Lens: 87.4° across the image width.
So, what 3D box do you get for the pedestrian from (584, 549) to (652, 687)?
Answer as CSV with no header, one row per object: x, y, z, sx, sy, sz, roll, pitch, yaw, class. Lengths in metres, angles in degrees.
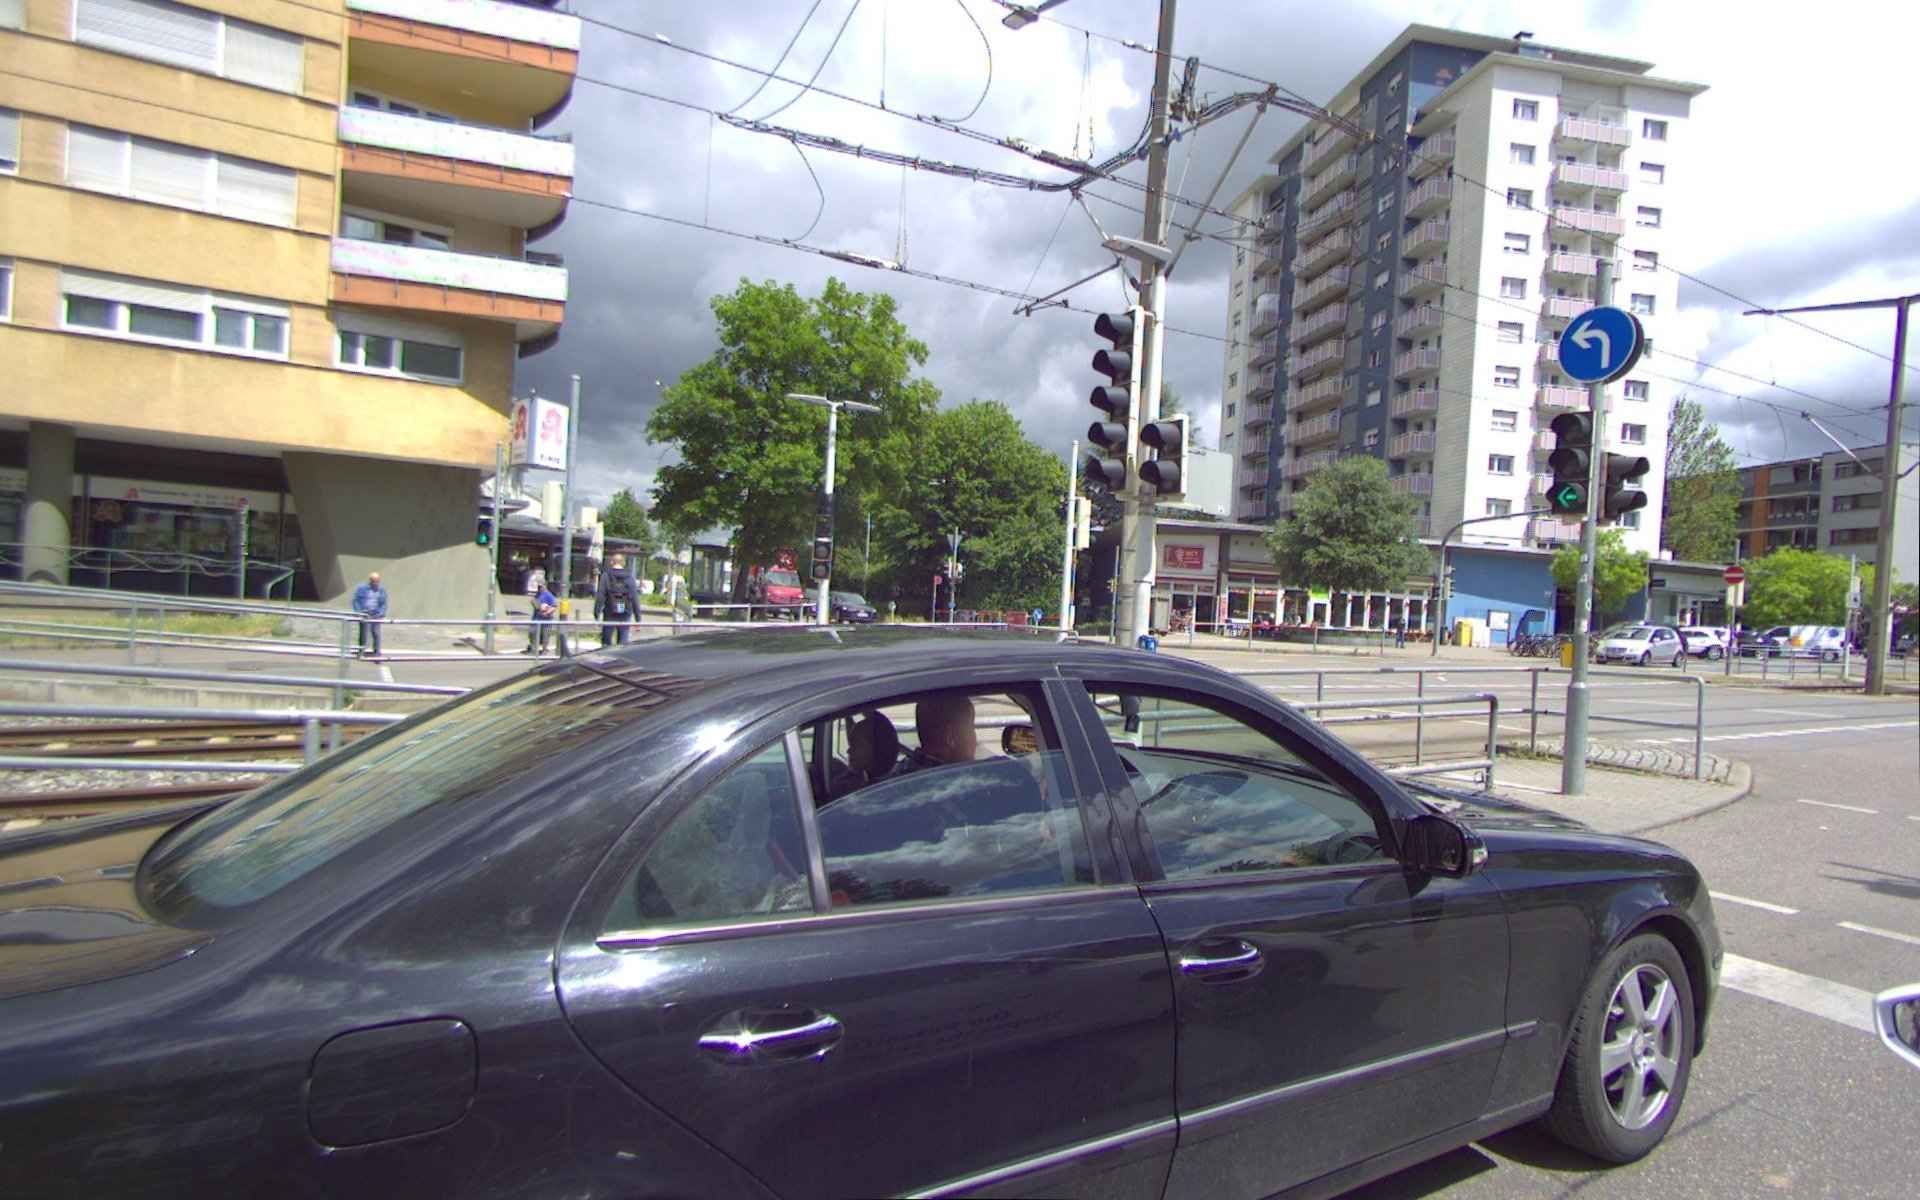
-5.085,0.266,14.903,0.841,1.960,0.916,2,0,-23,pedestrian

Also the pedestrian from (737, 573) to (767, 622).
-7.930,-0.098,38.340,0.873,1.835,0.641,2,0,33,pedestrian

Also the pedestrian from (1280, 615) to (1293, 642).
18.997,1.652,58.378,0.516,1.492,0.572,2,0,-2,pedestrian

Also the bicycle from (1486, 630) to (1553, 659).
23.431,1.841,42.105,0.697,1.080,2.415,2,0,-30,bicycle

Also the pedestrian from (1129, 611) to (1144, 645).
7.839,1.227,44.643,0.516,1.492,0.572,2,0,-5,pedestrian

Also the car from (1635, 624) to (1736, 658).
38.666,2.162,53.613,3.919,1.654,1.907,2,0,12,car

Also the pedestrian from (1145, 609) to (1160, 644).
8.444,1.149,44.046,0.516,1.492,0.518,2,0,-5,pedestrian

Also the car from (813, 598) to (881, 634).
-5.258,0.713,46.193,1.972,1.514,3.976,2,0,-24,car

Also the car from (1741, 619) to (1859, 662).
47.055,2.257,56.375,4.666,2.185,1.907,2,0,17,car

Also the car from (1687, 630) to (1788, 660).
42.614,2.458,55.120,3.920,1.402,1.907,2,0,17,car

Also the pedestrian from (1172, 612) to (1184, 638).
12.638,1.450,58.193,0.515,1.492,0.572,2,0,1,pedestrian

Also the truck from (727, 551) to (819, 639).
-8.786,-0.227,46.516,2.512,3.723,7.057,2,0,-24,truck

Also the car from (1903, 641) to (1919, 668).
63.963,3.619,66.075,4.058,1.685,1.980,2,2,-35,car

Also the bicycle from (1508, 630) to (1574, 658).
24.761,1.875,42.874,0.697,1.080,2.415,2,0,-30,bicycle

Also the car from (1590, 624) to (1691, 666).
27.026,1.773,39.881,3.708,1.553,1.811,2,0,-28,car

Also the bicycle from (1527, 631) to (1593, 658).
26.120,1.920,43.754,0.697,1.080,2.415,2,0,-30,bicycle

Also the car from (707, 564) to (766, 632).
-11.913,-0.088,53.216,1.971,3.343,6.270,2,0,-22,car

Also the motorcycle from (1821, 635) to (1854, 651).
71.012,3.449,81.289,0.734,1.194,1.880,2,0,-34,motorcycle

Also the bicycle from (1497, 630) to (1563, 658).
24.074,1.852,42.483,0.697,1.080,2.415,2,0,-30,bicycle

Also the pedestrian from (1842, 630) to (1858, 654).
61.469,2.910,69.387,0.654,1.594,0.687,2,0,30,pedestrian

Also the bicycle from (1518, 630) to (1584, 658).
25.492,1.899,43.354,0.697,1.080,2.415,2,0,-30,bicycle

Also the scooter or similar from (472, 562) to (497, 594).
-16.724,-0.767,35.310,0.540,1.108,1.736,2,0,-34,scooter or similar

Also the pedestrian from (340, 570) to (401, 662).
-11.038,0.297,18.801,0.902,1.619,0.714,2,5,-34,pedestrian

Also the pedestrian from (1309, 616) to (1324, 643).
20.296,1.664,57.251,0.565,1.492,0.522,2,0,-29,pedestrian

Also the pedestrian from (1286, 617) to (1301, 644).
18.890,1.716,56.923,0.565,1.492,0.522,2,0,-29,pedestrian

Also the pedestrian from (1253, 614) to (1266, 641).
17.321,1.585,58.127,0.515,1.492,0.572,2,0,1,pedestrian

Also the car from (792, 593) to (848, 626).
-7.375,0.461,52.470,1.971,1.623,3.979,2,0,-22,car

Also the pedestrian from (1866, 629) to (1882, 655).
65.594,3.010,72.077,0.834,1.816,0.607,2,0,-33,pedestrian

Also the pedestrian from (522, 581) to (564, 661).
-8.442,0.414,20.317,0.641,1.534,0.715,2,4,-30,pedestrian

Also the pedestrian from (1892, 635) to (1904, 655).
70.258,3.365,75.229,0.490,1.479,0.559,2,0,30,pedestrian

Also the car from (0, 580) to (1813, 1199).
0.053,0.733,2.717,4.619,1.417,1.962,2,0,-30,car

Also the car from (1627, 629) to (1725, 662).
36.811,2.316,51.746,3.691,1.516,1.747,2,0,18,car

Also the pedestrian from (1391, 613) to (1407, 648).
21.001,1.449,48.090,0.594,1.665,0.414,2,0,-34,pedestrian

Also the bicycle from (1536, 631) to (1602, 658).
26.743,1.941,44.175,0.697,1.080,2.415,2,0,-30,bicycle

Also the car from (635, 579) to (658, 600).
-33.780,-1.082,108.082,1.971,2.124,4.712,2,0,-22,car
